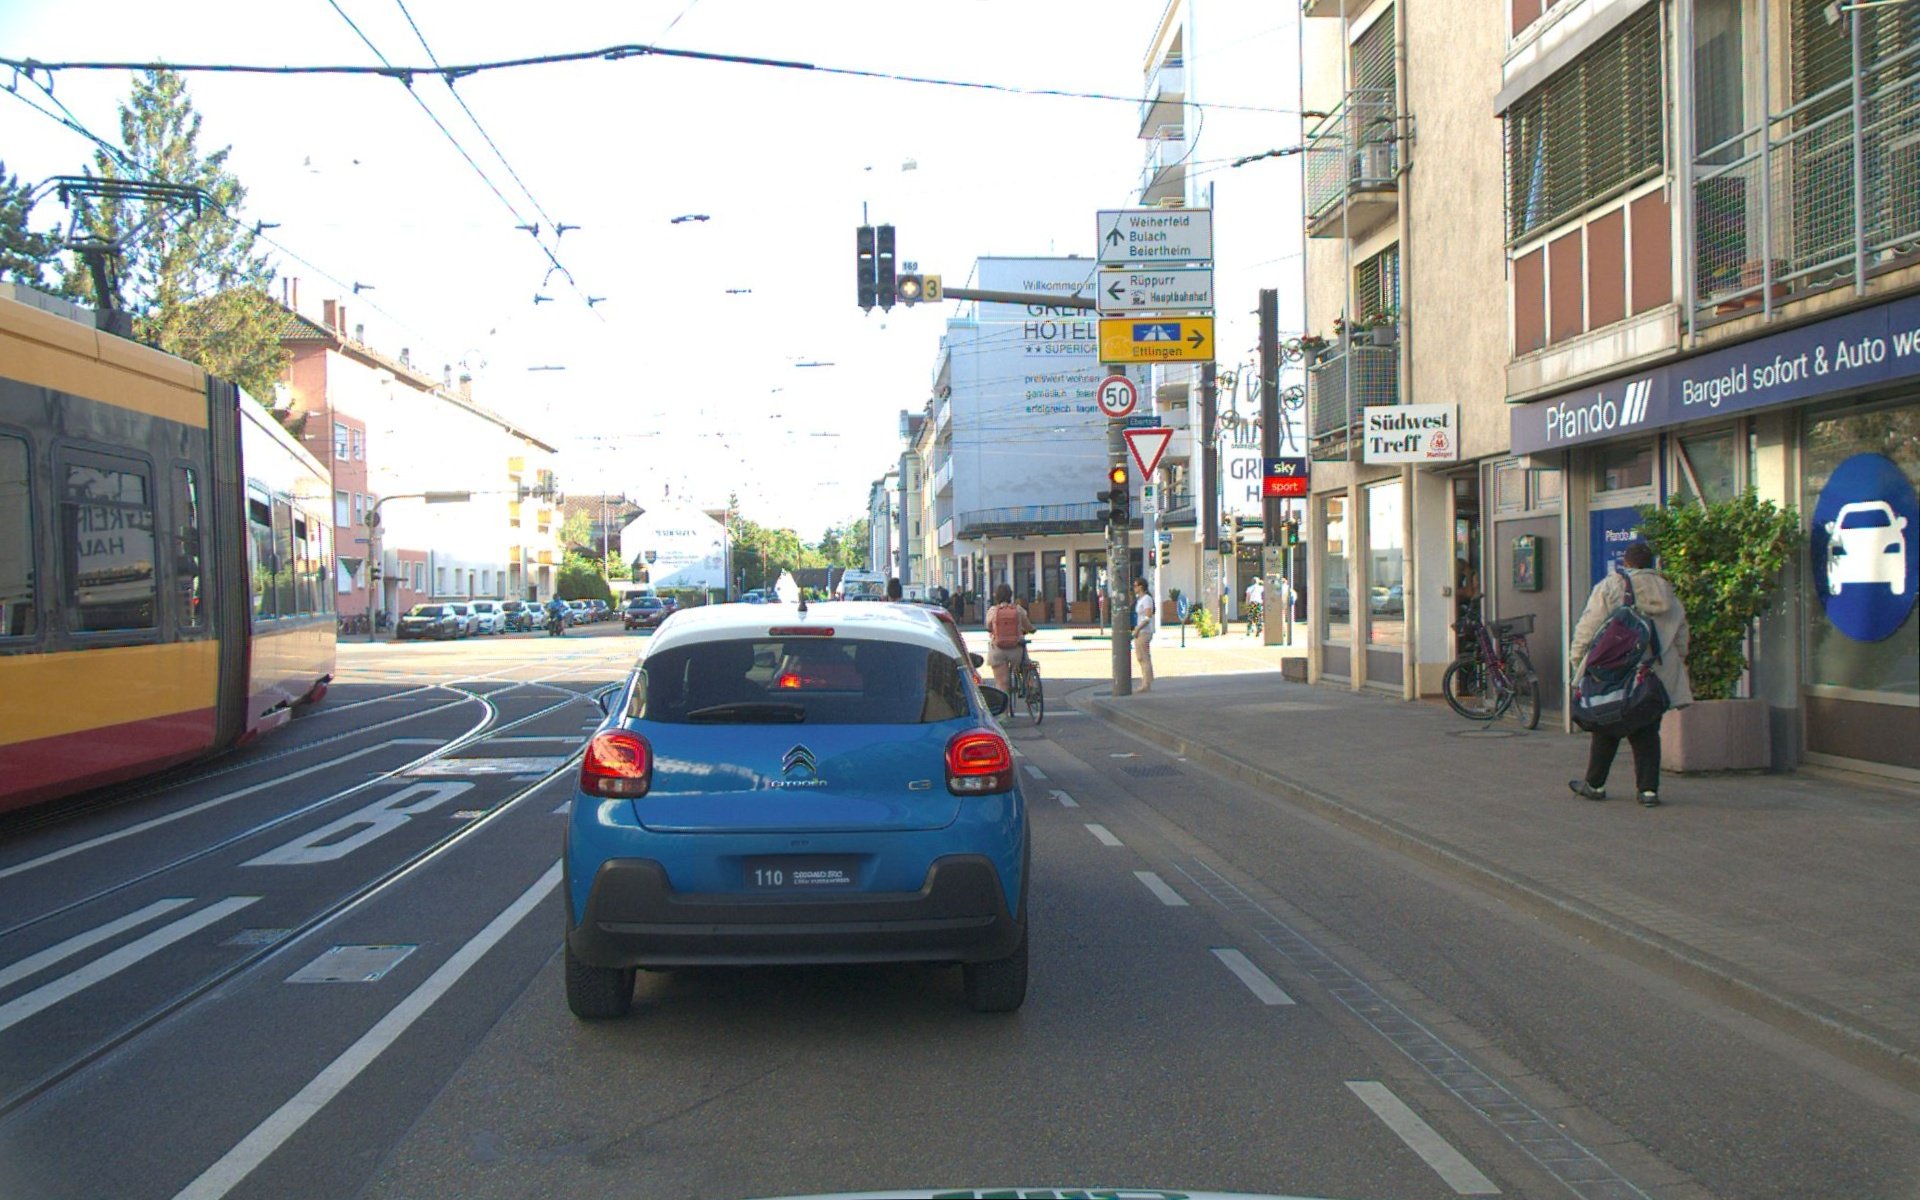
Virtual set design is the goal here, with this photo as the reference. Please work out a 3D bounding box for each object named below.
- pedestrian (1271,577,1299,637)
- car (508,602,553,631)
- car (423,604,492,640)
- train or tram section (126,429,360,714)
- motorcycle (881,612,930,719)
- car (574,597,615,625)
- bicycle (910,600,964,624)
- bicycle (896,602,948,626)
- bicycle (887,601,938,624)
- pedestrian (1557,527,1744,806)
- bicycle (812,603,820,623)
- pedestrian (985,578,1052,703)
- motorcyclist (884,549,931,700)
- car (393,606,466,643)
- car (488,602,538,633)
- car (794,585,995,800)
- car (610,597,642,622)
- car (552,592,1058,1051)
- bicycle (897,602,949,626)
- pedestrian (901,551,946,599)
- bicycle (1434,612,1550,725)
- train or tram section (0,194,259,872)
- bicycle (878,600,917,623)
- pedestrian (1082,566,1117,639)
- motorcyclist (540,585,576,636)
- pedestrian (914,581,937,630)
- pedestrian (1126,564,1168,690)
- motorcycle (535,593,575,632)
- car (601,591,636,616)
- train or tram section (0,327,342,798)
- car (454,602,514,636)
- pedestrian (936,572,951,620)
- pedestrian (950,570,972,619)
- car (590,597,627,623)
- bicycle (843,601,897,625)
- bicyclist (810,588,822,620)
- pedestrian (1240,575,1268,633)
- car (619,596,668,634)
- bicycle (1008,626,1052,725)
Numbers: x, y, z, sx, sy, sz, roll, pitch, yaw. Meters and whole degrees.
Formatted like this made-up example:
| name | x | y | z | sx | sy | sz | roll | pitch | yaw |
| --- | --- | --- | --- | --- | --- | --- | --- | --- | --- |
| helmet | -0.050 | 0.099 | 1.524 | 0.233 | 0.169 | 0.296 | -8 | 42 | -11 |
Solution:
| name | x | y | z | sx | sy | sz | roll | pitch | yaw |
| --- | --- | --- | --- | --- | --- | --- | --- | --- | --- |
| pedestrian | 9.241 | 0.199 | 46.966 | 0.736 | 1.686 | 0.884 | 1 | -1 | 13 |
| car | -23.797 | 0.908 | 91.711 | 1.699 | 1.524 | 3.996 | 1 | 0 | -5 |
| car | -22.174 | 0.949 | 73.142 | 1.778 | 1.524 | 4.299 | 1 | 0 | -1 |
| train or tram section | -11.880 | -0.362 | 28.561 | 2.704 | 3.695 | 14.181 | 1 | 0 | -20 |
| motorcycle | -0.621 | 0.731 | 19.425 | 0.515 | 1.159 | 2.289 | 1 | 0 | -1 |
| car | -23.343 | 0.688 | 105.808 | 1.944 | 1.716 | 3.997 | 1 | 0 | -4 |
| bicycle | -0.908 | 0.481 | 65.935 | 2.093 | 0.917 | 0.366 | 1 | -1 | -10 |
| bicycle | -1.564 | 0.567 | 67.672 | 2.093 | 0.917 | 0.366 | 1 | -1 | -10 |
| bicycle | -1.967 | 0.498 | 68.300 | 2.093 | 0.917 | 0.366 | 1 | -1 | -10 |
| pedestrian | 4.184 | 0.390 | 10.071 | 0.808 | 1.620 | 0.751 | 1 | -1 | -1 |
| bicycle | -6.779 | 0.618 | 77.789 | 0.342 | 0.919 | 1.858 | 1 | 0 | -4 |
| pedestrian | 0.710 | 0.484 | 20.212 | 0.761 | 1.486 | 0.681 | 1 | -1 | -1 |
| motorcyclist | -0.613 | 0.289 | 19.615 | 0.516 | 1.746 | 0.717 | 1 | -1 | -1 |
| car | -21.902 | 1.004 | 68.414 | 1.757 | 1.446 | 3.994 | 1 | 0 | -2 |
| car | -23.121 | 0.876 | 85.673 | 1.750 | 1.524 | 3.997 | 1 | 0 | -4 |
| car | -0.483 | 0.662 | 13.165 | 1.395 | 1.493 | 2.923 | -1 | 0 | -1 |
| car | -24.383 | 0.697 | 120.801 | 1.809 | 1.716 | 3.871 | 1 | 0 | -4 |
| car | -0.526 | 0.731 | 7.149 | 1.620 | 1.469 | 3.522 | 1 | 0 | -1 |
| bicycle | -1.495 | 0.564 | 67.243 | 2.093 | 0.917 | 0.366 | 1 | -1 | -10 |
| pedestrian | -1.606 | -1.088 | 73.533 | 1.953 | 2.049 | 3.999 | 1 | 0 | -1 |
| bicycle | 5.069 | 0.628 | 15.859 | 0.531 | 1.016 | 1.705 | 1 | 0 | -1 |
| train or tram section | -6.474 | -0.348 | 6.492 | 3.002 | 3.656 | 12.617 | -1 | 0 | -5 |
| bicycle | -2.629 | 0.479 | 69.393 | 1.751 | 0.917 | 0.365 | 1 | -1 | 34 |
| pedestrian | 3.958 | 0.068 | 47.036 | 0.907 | 2.049 | 0.759 | 1 | -1 | -1 |
| motorcyclist | -16.212 | 0.415 | 66.778 | 1.162 | 2.049 | 1.274 | -1 | 0 | -4 |
| pedestrian | -1.437 | 0.239 | 69.183 | 0.625 | 2.049 | 0.715 | 1 | -1 | -37 |
| pedestrian | 2.743 | 0.394 | 24.319 | 0.507 | 1.814 | 0.595 | 1 | -1 | -3 |
| motorcycle | -16.217 | 0.487 | 66.308 | 0.905 | 1.512 | 3.723 | 1 | 0 | -4 |
| car | -23.975 | 0.237 | 116.239 | 1.797 | 1.716 | 3.997 | 1 | 0 | -4 |
| train or tram section | -8.328 | -0.307 | 17.483 | 2.781 | 3.694 | 9.039 | 1 | 0 | -17 |
| car | -22.667 | 0.875 | 78.913 | 1.751 | 1.537 | 4.148 | 1 | 0 | -2 |
| pedestrian | -0.701 | -0.165 | 70.217 | 0.565 | 2.049 | 0.625 | 1 | -1 | -3 |
| pedestrian | 0.059 | -0.234 | 70.149 | 0.698 | 2.049 | 0.755 | 1 | -1 | -20 |
| car | -23.551 | 0.670 | 110.970 | 1.845 | 1.716 | 3.997 | 1 | 0 | -4 |
| bicycle | -3.602 | 0.523 | 66.155 | 2.093 | 0.917 | 0.366 | 1 | -1 | -10 |
| bicyclist | -6.761 | 0.197 | 77.698 | 0.550 | 1.503 | 0.747 | 1 | -1 | -3 |
| pedestrian | 8.434 | 0.107 | 47.434 | 0.720 | 1.629 | 0.749 | 1 | -1 | 12 |
| car | -14.551 | 0.682 | 76.202 | 1.740 | 1.695 | 3.853 | 1 | 0 | -4 |
| bicycle | 0.854 | 0.905 | 20.509 | 0.419 | 1.142 | 1.998 | 1 | 0 | -1 |
